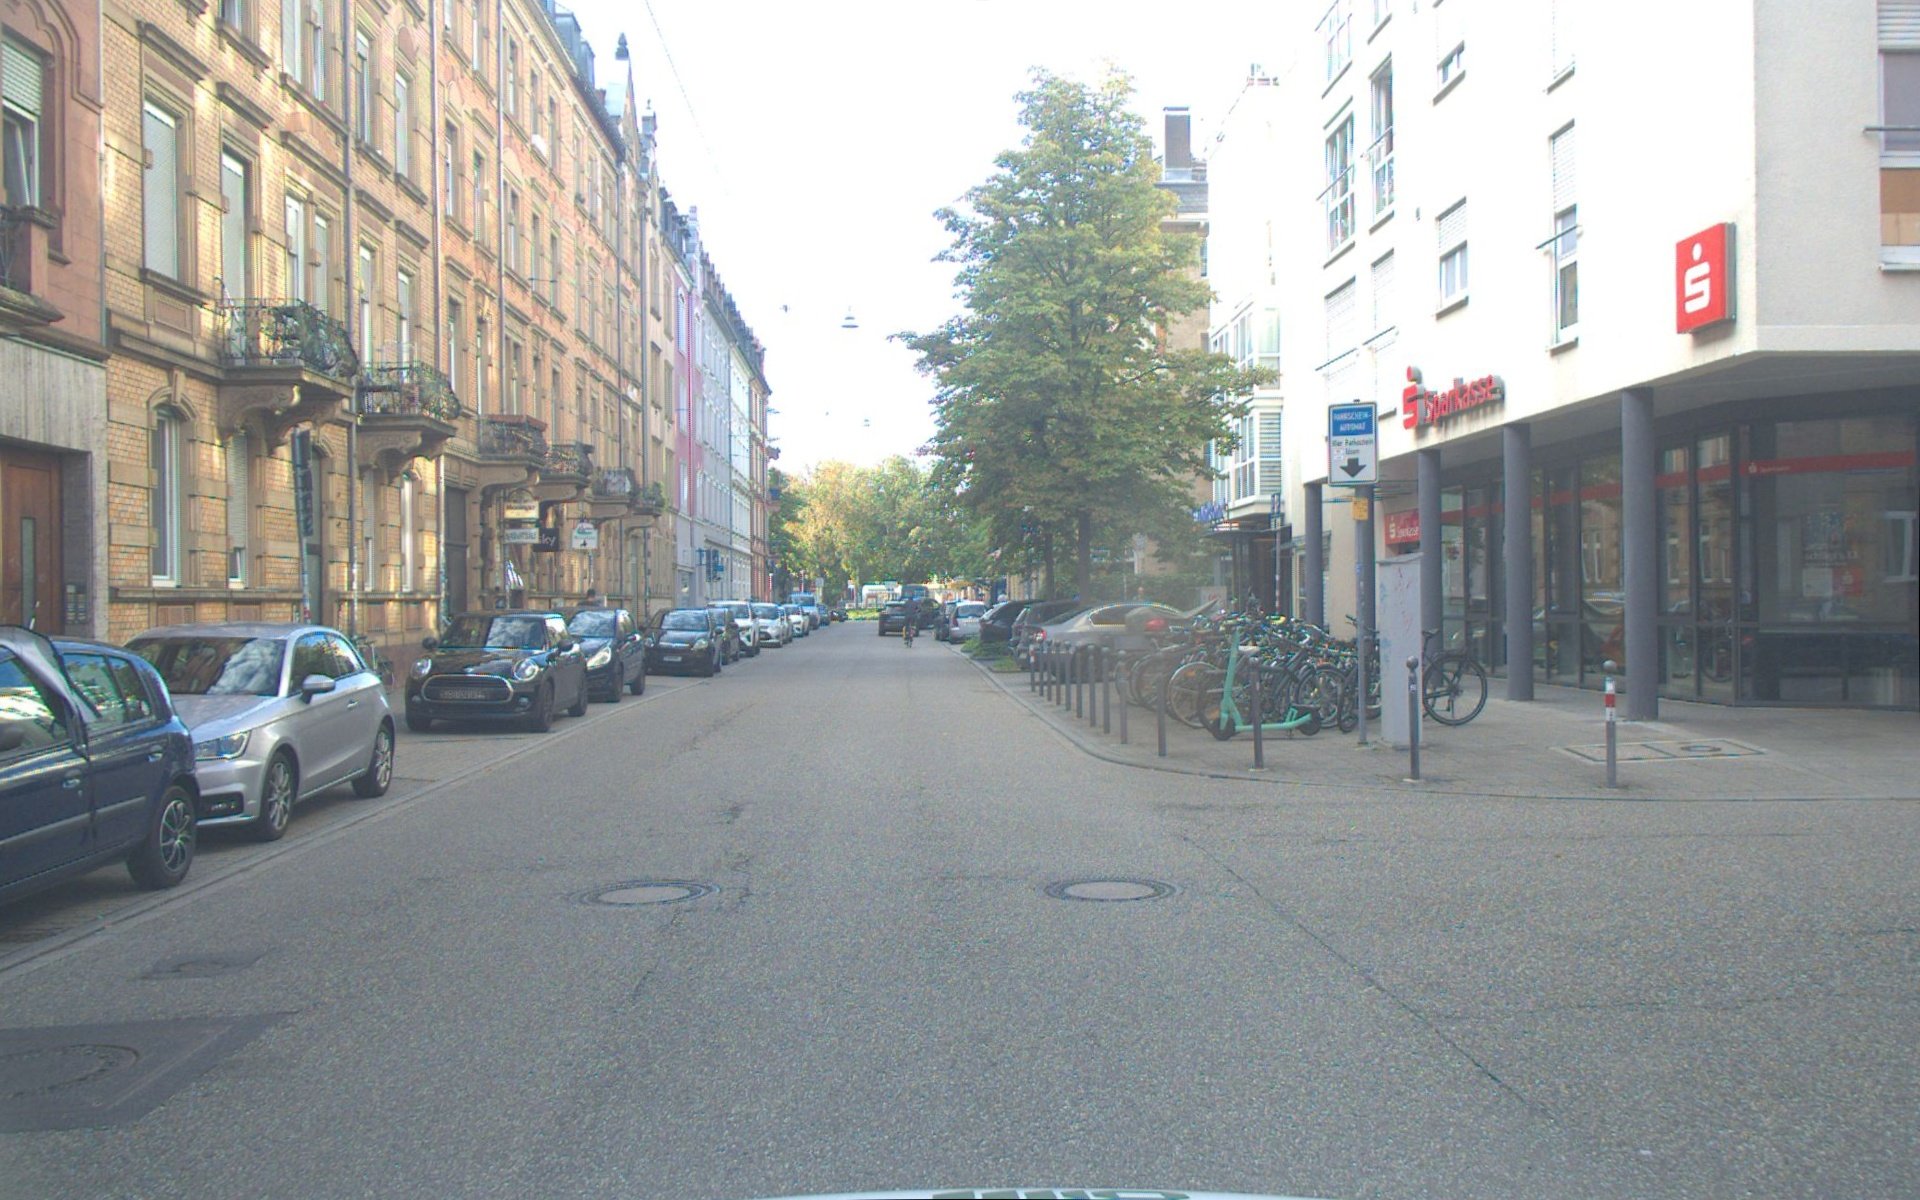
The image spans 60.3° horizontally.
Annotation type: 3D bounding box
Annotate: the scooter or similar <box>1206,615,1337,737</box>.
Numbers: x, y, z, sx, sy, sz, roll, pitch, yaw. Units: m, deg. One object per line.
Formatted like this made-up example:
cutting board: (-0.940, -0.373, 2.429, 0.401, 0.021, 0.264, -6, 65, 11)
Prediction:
scooter or similar: (3.137, 0.772, 16.701, 1.183, 1.167, 0.378, -3, 1, 30)

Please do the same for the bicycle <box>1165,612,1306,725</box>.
bicycle: (3.107, 0.764, 18.697, 1.467, 1.166, 0.411, -3, 0, -8)

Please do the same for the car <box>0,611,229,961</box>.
car: (-5.064, 0.820, 7.683, 1.707, 1.509, 3.981, 0, 0, -3)

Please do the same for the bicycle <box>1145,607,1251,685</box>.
bicycle: (3.943, 0.760, 27.492, 1.630, 1.179, 0.557, -3, 0, -1)

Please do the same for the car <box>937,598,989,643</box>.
car: (0.076, 0.763, 64.413, 1.891, 1.667, 3.998, 0, 0, -2)

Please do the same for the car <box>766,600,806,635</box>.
car: (-8.070, 0.811, 76.890, 1.656, 1.577, 3.864, 1, 0, -3)

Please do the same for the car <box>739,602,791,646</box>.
car: (-7.276, 0.893, 61.835, 1.656, 1.577, 3.864, 1, 0, -3)

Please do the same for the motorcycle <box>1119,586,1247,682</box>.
motorcycle: (3.918, 0.595, 29.171, 2.106, 1.557, 0.686, -3, 0, 2)

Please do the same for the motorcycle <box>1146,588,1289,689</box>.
motorcycle: (4.061, 0.599, 26.233, 2.106, 1.459, 0.765, -3, 0, 2)

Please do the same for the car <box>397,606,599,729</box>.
car: (-5.805, 0.789, 21.226, 1.656, 1.411, 3.865, 0, 0, -3)

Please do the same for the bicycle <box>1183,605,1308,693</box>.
bicycle: (4.193, 0.708, 24.343, 1.697, 1.179, 0.500, -3, 0, -1)

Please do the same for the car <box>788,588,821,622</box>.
car: (-8.740, 0.262, 93.010, 1.656, 1.853, 3.864, 1, 0, -3)

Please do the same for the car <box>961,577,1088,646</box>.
car: (2.032, 0.345, 52.365, 3.905, 1.712, 1.739, -3, 8, 1)

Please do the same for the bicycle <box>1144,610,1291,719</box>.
bicycle: (3.100, 0.758, 19.849, 1.742, 1.166, 0.408, -3, 1, -23)

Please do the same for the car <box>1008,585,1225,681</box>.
car: (2.930, 0.624, 31.354, 3.695, 1.573, 1.725, -3, -1, -13)

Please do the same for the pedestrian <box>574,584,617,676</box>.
pedestrian: (-7.581, 0.619, 34.421, 0.675, 1.886, 0.931, 0, 0, -1)

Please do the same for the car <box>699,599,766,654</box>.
car: (-6.812, 0.774, 49.797, 1.656, 1.577, 3.865, 0, 0, -3)

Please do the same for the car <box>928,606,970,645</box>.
car: (-0.493, 1.050, 68.857, 1.656, 1.577, 3.687, 0, 0, -2)

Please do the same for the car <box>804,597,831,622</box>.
car: (-9.346, 0.641, 108.617, 1.656, 1.577, 3.864, 1, 0, -3)

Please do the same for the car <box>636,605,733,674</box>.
car: (-6.218, 0.867, 37.658, 1.656, 1.393, 3.865, 3, 0, -3)

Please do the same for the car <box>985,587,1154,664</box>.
car: (2.614, 0.604, 39.978, 3.904, 1.611, 2.001, -3, 0, 2)

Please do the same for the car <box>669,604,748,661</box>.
car: (-6.738, 0.842, 44.612, 1.656, 1.393, 3.865, 3, 0, -3)

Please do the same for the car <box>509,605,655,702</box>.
car: (-6.105, 0.820, 27.105, 1.656, 1.462, 3.865, 0, 0, -3)

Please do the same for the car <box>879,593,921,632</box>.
car: (-2.822, 0.594, 77.648, 1.925, 1.771, 4.039, 0, -1, -3)

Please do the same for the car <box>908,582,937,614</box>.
car: (-2.484, -0.126, 107.894, 1.747, 2.055, 3.885, 0, 0, -3)

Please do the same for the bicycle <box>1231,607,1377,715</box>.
bicycle: (4.132, 0.711, 19.829, 1.742, 1.166, 0.408, -3, 1, -23)

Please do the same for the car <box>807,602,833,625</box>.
car: (-10.112, 0.967, 119.527, 1.555, 1.566, 3.752, 0, 0, -1)

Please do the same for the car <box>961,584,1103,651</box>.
car: (2.060, 0.481, 47.305, 3.904, 1.668, 2.001, -3, 0, 2)

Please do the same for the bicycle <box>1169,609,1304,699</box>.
bicycle: (3.896, 0.764, 23.335, 1.758, 1.179, 0.500, -3, 0, 24)

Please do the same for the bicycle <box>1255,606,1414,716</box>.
bicycle: (4.372, 0.704, 19.336, 1.733, 1.166, 0.411, -3, 0, -8)

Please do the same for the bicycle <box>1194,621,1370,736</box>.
bicycle: (3.371, 0.813, 17.325, 1.732, 1.075, 0.411, -3, 0, -8)

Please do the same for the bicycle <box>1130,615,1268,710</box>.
bicycle: (3.161, 0.823, 21.960, 1.729, 1.138, 0.411, -3, 0, 0)

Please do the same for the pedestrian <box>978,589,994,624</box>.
pedestrian: (1.694, 0.407, 107.216, 0.975, 2.269, 0.898, 0, 0, -2)

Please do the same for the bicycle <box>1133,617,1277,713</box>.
bicycle: (3.132, 0.827, 21.214, 1.729, 1.118, 0.411, -3, 0, 0)

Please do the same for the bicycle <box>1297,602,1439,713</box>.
bicycle: (4.633, 0.649, 18.809, 1.465, 1.166, 0.411, -3, 0, -3)

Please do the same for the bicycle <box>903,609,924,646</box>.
bicycle: (-1.674, 0.978, 59.674, 0.703, 1.296, 1.883, 0, 0, -1)

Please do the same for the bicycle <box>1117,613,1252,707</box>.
bicycle: (3.094, 0.818, 22.892, 1.757, 1.179, 0.500, -3, 0, 0)

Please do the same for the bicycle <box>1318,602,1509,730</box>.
bicycle: (4.636, 0.664, 16.978, 1.729, 1.182, 0.650, -3, 0, 0)

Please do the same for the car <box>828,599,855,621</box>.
car: (-8.969, 0.744, 125.268, 1.817, 1.649, 3.999, 0, 0, -2)

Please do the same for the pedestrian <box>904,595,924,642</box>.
pedestrian: (-1.672, 0.646, 59.764, 0.703, 1.679, 0.930, 0, 0, -2)

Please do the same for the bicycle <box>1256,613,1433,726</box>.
bicycle: (4.170, 0.743, 18.004, 1.729, 1.106, 0.650, -3, 0, 0)

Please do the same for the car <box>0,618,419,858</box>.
car: (-5.328, 0.862, 12.036, 1.656, 1.411, 3.865, 0, 0, -3)
